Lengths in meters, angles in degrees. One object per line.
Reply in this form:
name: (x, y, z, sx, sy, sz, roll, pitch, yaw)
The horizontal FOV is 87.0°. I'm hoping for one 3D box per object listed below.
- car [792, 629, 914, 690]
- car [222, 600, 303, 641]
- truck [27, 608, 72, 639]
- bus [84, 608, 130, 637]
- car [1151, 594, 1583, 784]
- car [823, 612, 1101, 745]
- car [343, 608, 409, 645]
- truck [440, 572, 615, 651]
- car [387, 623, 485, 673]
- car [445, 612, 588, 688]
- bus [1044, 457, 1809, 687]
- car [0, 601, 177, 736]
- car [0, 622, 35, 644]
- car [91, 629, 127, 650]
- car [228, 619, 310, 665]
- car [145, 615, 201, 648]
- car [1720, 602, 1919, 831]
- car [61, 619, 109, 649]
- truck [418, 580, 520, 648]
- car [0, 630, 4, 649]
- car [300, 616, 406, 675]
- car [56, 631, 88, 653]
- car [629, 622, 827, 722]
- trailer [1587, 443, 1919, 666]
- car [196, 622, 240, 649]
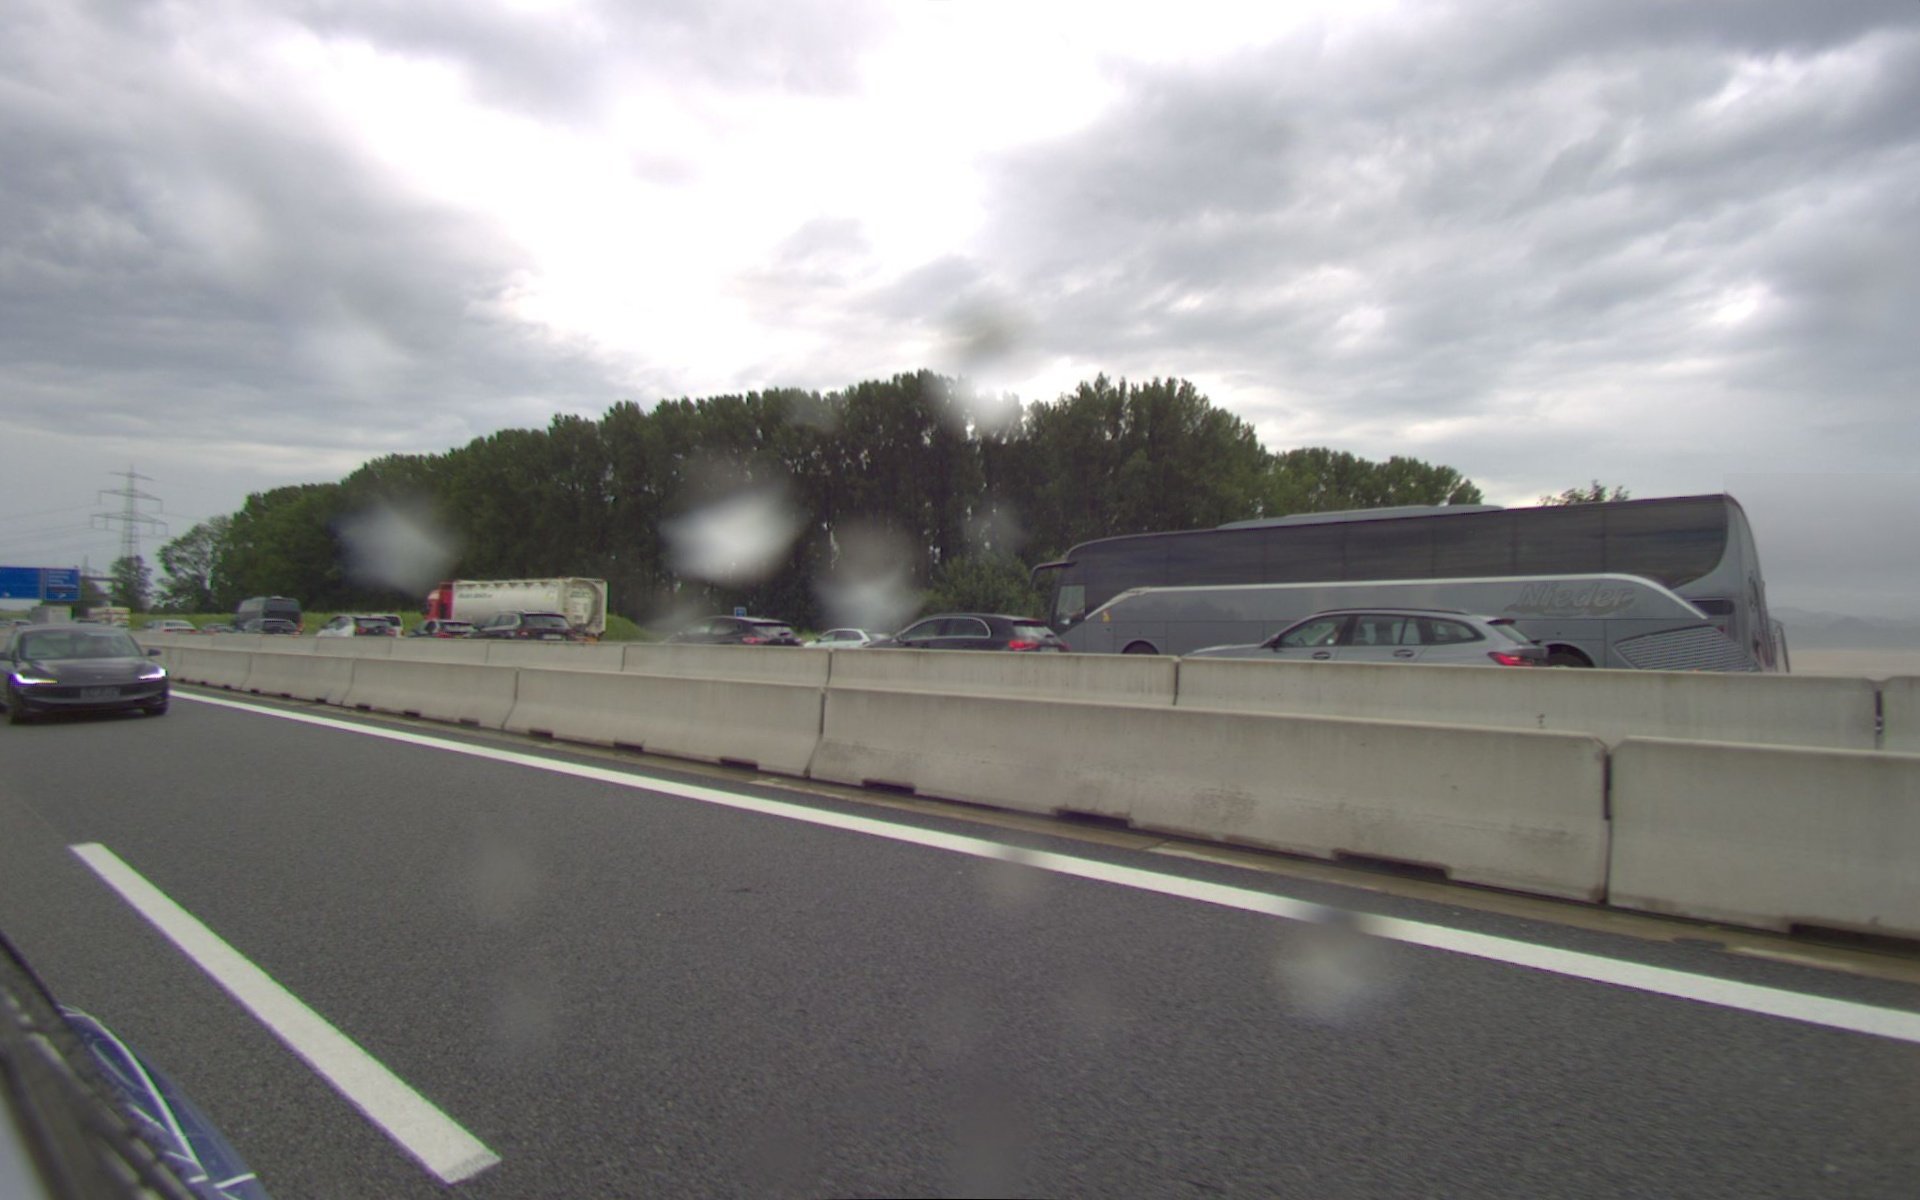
car: (-3.937, 2.091, 36.814, 4.423, 2.029, 1.972, -1, -1, 42)
car: (-39.871, 1.172, 57.788, 6.814, 2.181, 2.235, -1, -1, 42)
truck: (-134.384, 3.415, 149.278, 13.941, 4.345, 3.116, -1, -1, 40)
bus: (-103.692, 2.702, 122.953, 9.959, 3.358, 2.802, -1, -1, 41)
car: (4.997, 0.963, 12.856, 4.694, 1.982, 1.973, -1, -1, 42)
car: (-0.078, 1.232, 17.521, 4.694, 1.982, 1.973, -1, -1, 42)
car: (-32.714, 1.462, 56.662, 4.211, 1.962, 1.973, -1, -1, 42)
truck: (-23.290, 0.673, 53.847, 13.292, 3.774, 3.116, -1, -1, 41)
car: (-21.961, 1.953, 42.350, 4.928, 1.918, 1.973, -1, -1, 41)
car: (-12.741, 1.368, 28.967, 4.694, 1.982, 1.973, -1, -1, 42)
bus: (8.134, -0.293, 20.659, 13.992, 3.411, 2.659, -1, -1, 42)
car: (-14.353, 0.978, 16.241, 5.162, 1.834, 1.972, -1, -1, 42)
car: (-90.122, 3.095, 96.597, 5.177, 2.029, 1.974, -1, -1, 40)
car: (-85.501, 3.967, 101.633, 4.804, 2.029, 1.974, -1, -1, 40)
car: (-31.432, 1.860, 45.985, 4.694, 1.982, 1.973, -1, -1, 42)
car: (-44.173, 1.745, 56.808, 3.998, 1.732, 1.785, -1, -1, 42)
car: (9.853, 1.019, 9.090, 4.694, 2.029, 1.973, -1, -1, 42)
car: (-62.237, 2.402, 71.944, 4.262, 2.029, 1.973, -1, -1, 41)
truck: (-28.321, 0.816, 58.276, 6.316, 3.740, 3.117, -1, -1, 42)
car: (-100.769, 4.111, 104.821, 4.630, 1.869, 1.974, -1, -1, 39)
car: (-21.888, 1.586, 36.440, 4.694, 1.982, 1.973, -1, -1, 42)
car: (-87.841, 4.141, 100.114, 3.996, 2.029, 1.787, -1, -1, 40)
car: (-5.272, 1.500, 22.640, 4.694, 1.982, 1.973, -1, -1, 42)
trailer: (17.044, -0.748, 18.471, 9.157, 3.791, 2.830, -1, -2, 42)
car: (-59.083, 2.800, 80.541, 4.225, 2.029, 1.973, -1, -1, 41)
